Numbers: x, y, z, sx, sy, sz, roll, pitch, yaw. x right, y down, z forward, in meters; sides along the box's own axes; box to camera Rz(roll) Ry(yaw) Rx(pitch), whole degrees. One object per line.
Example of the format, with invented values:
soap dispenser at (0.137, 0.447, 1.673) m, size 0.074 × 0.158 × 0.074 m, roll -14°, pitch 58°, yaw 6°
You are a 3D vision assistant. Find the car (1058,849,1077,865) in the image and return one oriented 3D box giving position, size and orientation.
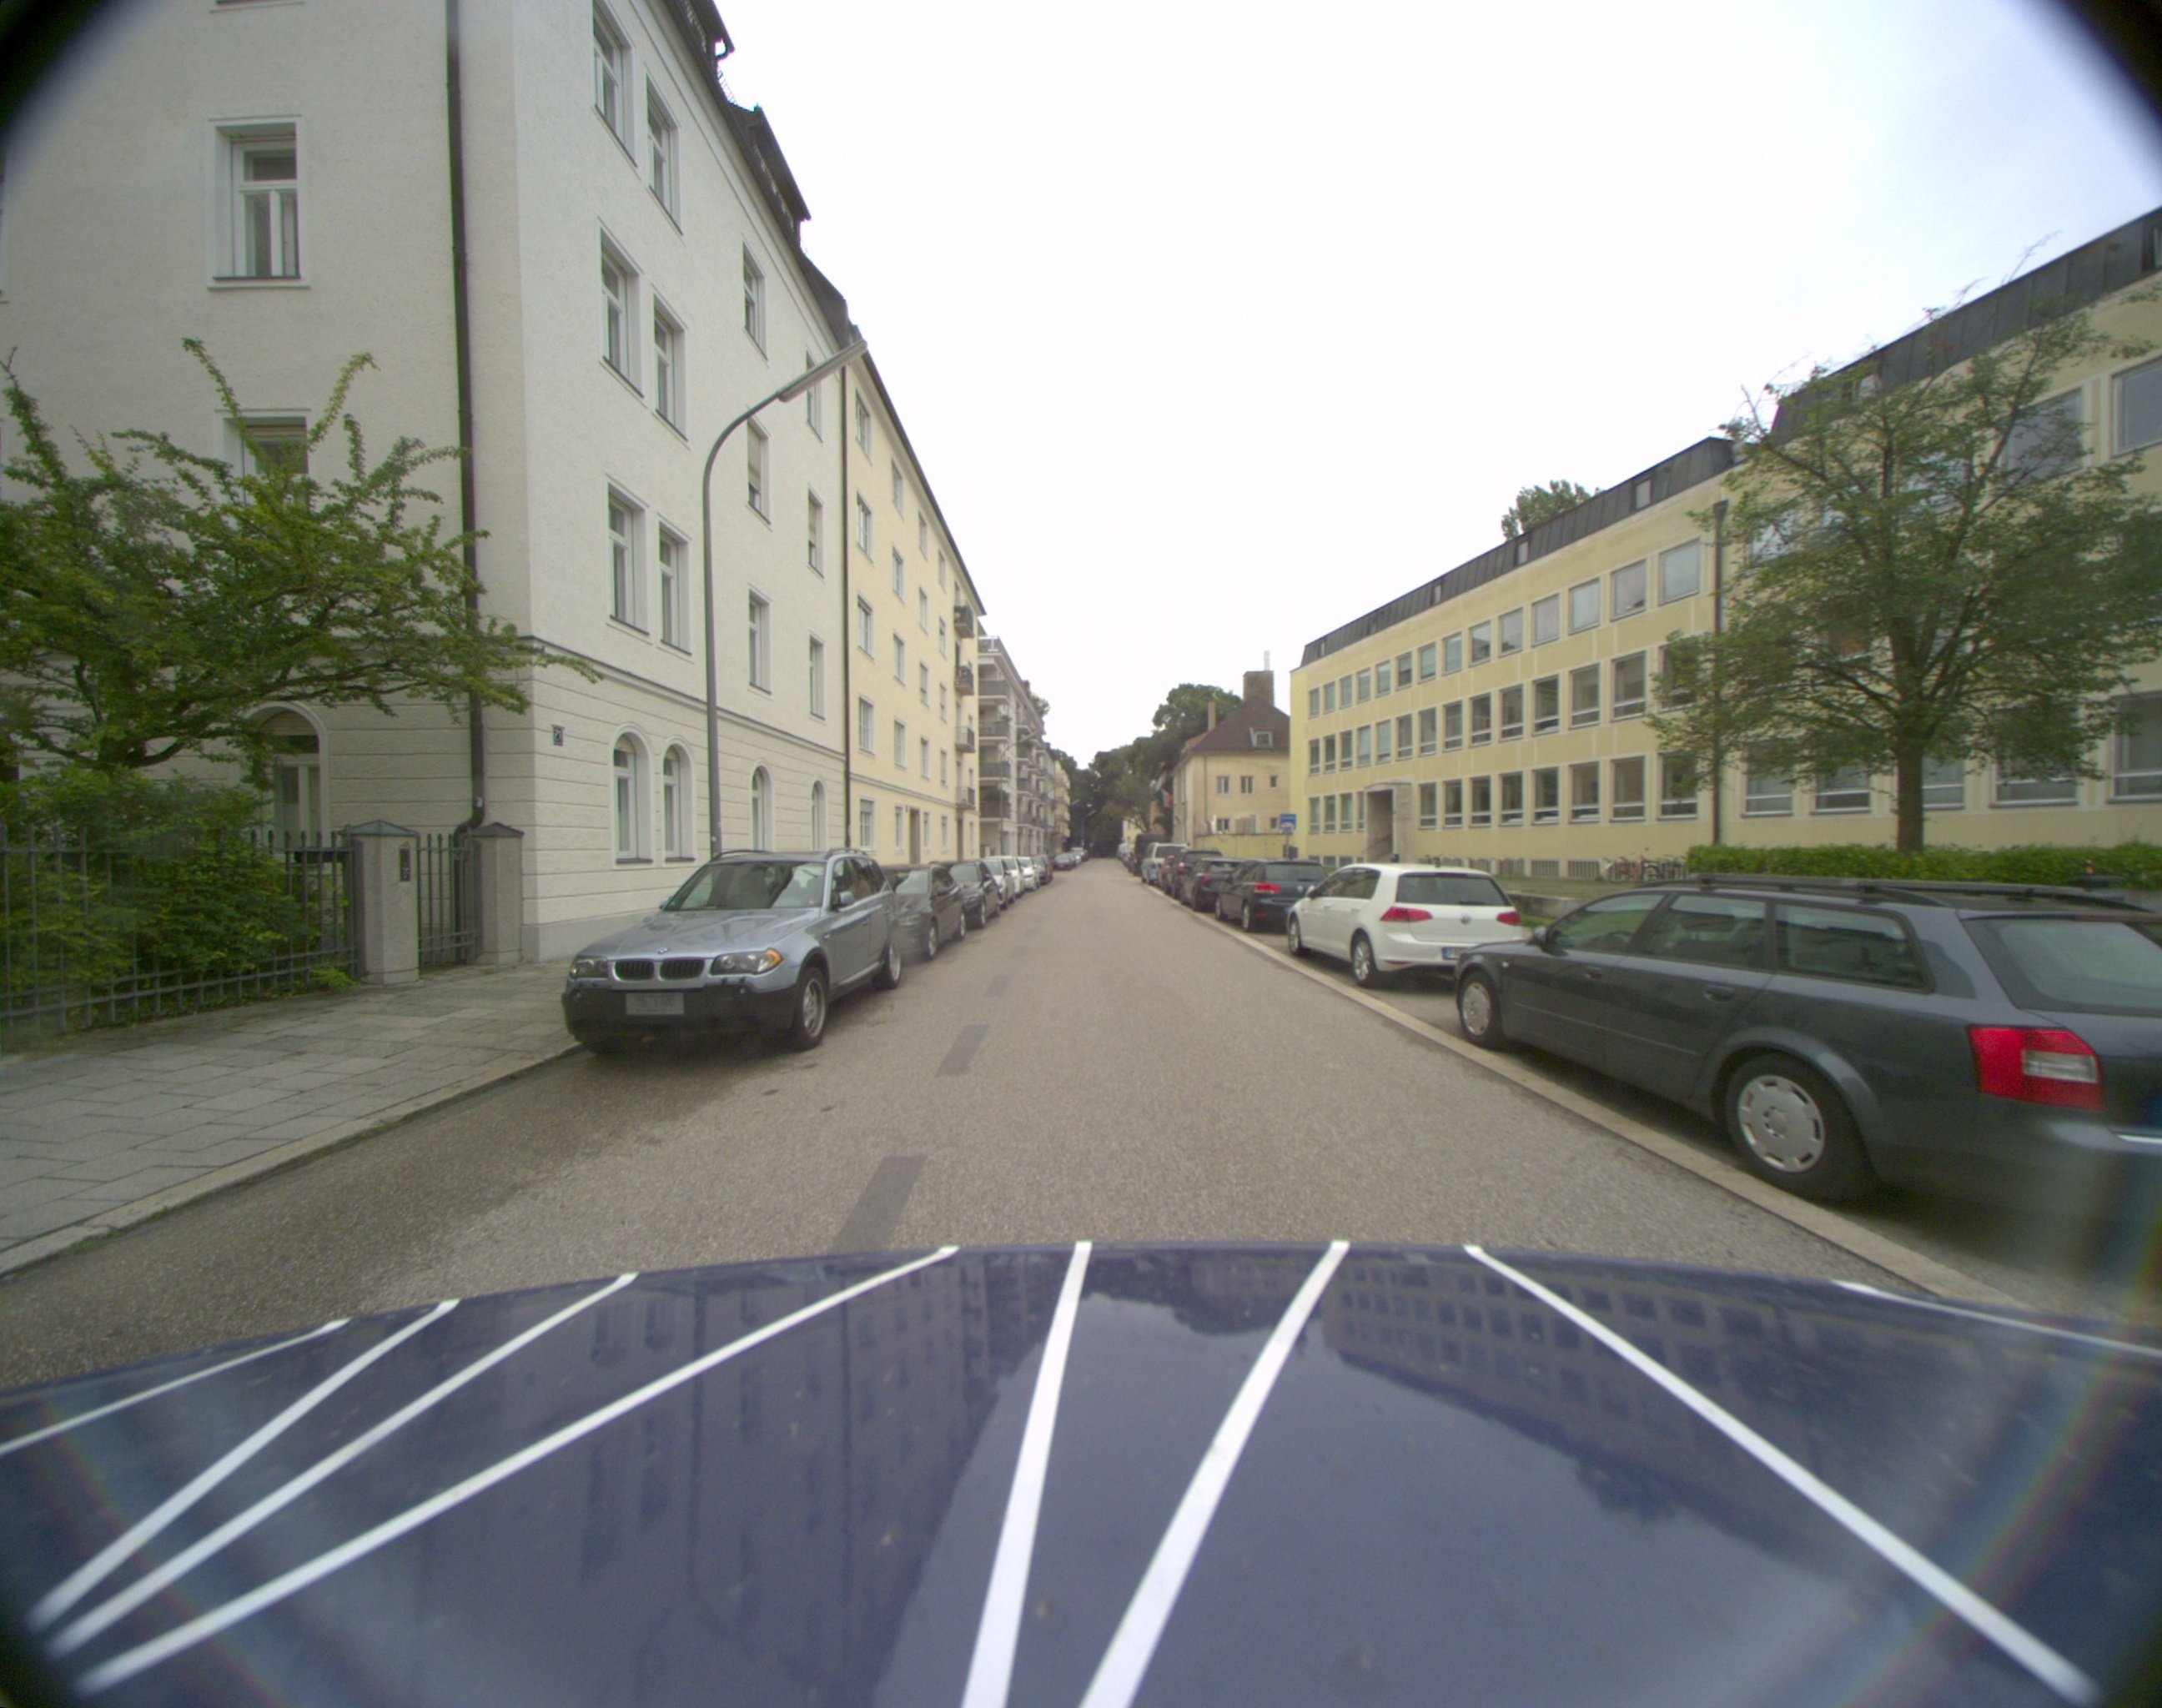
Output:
car at (-1.325, 0.275, 76.310) m, size 1.766 × 1.449 × 3.747 m, roll -1°, pitch 1°, yaw 1°

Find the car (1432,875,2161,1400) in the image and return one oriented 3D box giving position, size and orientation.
car at (3.996, 0.944, 4.515) m, size 1.759 × 1.445 × 4.395 m, roll 1°, pitch 1°, yaw 0°

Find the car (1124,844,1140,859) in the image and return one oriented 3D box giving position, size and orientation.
car at (6.285, -0.347, 93.658) m, size 1.817 × 1.724 × 3.649 m, roll -1°, pitch 1°, yaw 2°

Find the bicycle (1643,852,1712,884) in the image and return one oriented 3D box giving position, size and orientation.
bicycle at (19.692, 0.440, 25.094) m, size 1.953 × 1.008 × 0.625 m, roll -1°, pitch 1°, yaw -9°

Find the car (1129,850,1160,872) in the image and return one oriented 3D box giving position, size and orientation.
car at (4.540, 0.459, 54.657) m, size 1.706 × 1.485 × 3.488 m, roll -1°, pitch 1°, yaw -3°

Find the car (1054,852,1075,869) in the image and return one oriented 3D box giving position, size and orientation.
car at (-1.465, 0.520, 66.780) m, size 1.784 × 1.386 × 4.245 m, roll -1°, pitch 1°, yaw -2°

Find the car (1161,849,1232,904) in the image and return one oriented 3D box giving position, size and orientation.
car at (3.908, 0.687, 26.341) m, size 1.748 × 1.656 × 4.448 m, roll 3°, pitch 1°, yaw 0°

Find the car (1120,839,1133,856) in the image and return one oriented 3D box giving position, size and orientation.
car at (7.206, -1.033, 120.369) m, size 1.880 × 2.539 × 4.370 m, roll -1°, pitch 1°, yaw 3°

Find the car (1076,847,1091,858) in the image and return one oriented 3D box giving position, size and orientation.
car at (0.397, -0.236, 109.037) m, size 1.871 × 1.455 × 4.268 m, roll -1°, pitch 1°, yaw 3°

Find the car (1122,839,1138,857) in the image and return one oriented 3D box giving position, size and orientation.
car at (6.730, -0.878, 103.905) m, size 2.104 × 2.418 × 4.549 m, roll -1°, pitch 1°, yaw 4°

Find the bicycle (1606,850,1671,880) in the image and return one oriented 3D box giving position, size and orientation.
bicycle at (19.444, 0.385, 26.508) m, size 1.953 × 1.008 × 0.625 m, roll -1°, pitch 1°, yaw -9°

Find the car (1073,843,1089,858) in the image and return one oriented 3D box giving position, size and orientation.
car at (0.017, -0.474, 103.406) m, size 1.871 × 2.002 × 4.268 m, roll -1°, pitch 1°, yaw 3°

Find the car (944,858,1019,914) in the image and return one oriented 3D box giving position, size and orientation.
car at (-2.841, 0.873, 22.563) m, size 1.683 × 1.419 × 4.166 m, roll -1°, pitch 1°, yaw 0°

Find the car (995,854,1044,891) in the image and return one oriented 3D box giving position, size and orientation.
car at (-2.586, 0.740, 32.728) m, size 1.683 × 1.402 × 4.442 m, roll -1°, pitch 1°, yaw 0°

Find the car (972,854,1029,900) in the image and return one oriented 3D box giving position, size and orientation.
car at (-2.893, 0.777, 28.007) m, size 1.683 × 1.473 × 4.166 m, roll -1°, pitch 1°, yaw 0°

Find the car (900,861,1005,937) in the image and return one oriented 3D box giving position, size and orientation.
car at (-2.814, 0.933, 17.567) m, size 1.683 × 1.419 × 4.390 m, roll -1°, pitch 1°, yaw 0°

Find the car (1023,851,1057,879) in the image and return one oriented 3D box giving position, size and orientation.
car at (-2.323, 0.606, 43.458) m, size 1.683 × 1.489 × 3.823 m, roll -1°, pitch 1°, yaw 0°

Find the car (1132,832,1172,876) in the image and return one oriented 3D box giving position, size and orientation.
car at (4.533, -0.029, 49.506) m, size 2.302 × 2.630 × 5.653 m, roll 1°, pitch 1°, yaw 3°

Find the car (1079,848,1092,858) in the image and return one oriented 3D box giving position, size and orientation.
car at (0.782, -0.204, 119.180) m, size 1.871 × 1.455 × 4.268 m, roll -1°, pitch 1°, yaw 3°

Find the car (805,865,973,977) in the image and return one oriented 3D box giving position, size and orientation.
car at (-2.958, 0.965, 12.616) m, size 1.683 × 1.419 × 4.086 m, roll -1°, pitch 1°, yaw 1°

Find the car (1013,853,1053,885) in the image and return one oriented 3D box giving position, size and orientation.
car at (-2.355, 0.701, 38.055) m, size 1.683 × 1.402 × 4.421 m, roll -1°, pitch 1°, yaw 0°

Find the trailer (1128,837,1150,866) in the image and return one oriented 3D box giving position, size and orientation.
trailer at (5.425, -0.272, 71.166) m, size 1.817 × 2.521 × 3.390 m, roll 3°, pitch 1°, yaw 6°

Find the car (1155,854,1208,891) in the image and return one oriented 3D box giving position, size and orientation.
car at (4.130, 0.722, 31.728) m, size 1.748 × 1.379 × 3.918 m, roll -1°, pitch 1°, yaw 1°

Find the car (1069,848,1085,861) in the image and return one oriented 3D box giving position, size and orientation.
car at (-0.483, 0.026, 88.194) m, size 1.766 × 1.449 × 3.747 m, roll -1°, pitch 1°, yaw 1°

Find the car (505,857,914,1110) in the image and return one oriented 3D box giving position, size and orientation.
car at (-3.019, 0.898, 7.412) m, size 1.726 × 1.625 × 4.457 m, roll -1°, pitch 1°, yaw 1°

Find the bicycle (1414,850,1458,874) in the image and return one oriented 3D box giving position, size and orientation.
bicycle at (16.858, 0.371, 36.058) m, size 1.954 × 1.008 × 0.580 m, roll -2°, pitch 1°, yaw -16°

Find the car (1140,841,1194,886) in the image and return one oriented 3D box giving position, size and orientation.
car at (4.038, 0.396, 36.469) m, size 1.933 × 1.968 × 5.021 m, roll 0°, pitch 1°, yaw -1°

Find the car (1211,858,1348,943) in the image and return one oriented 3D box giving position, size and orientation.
car at (3.960, 0.862, 15.817) m, size 1.661 × 1.445 × 3.973 m, roll 1°, pitch 1°, yaw -2°

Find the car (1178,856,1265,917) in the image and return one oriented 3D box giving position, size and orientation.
car at (3.772, 0.823, 21.002) m, size 1.684 × 1.445 × 3.869 m, roll 1°, pitch 1°, yaw 0°

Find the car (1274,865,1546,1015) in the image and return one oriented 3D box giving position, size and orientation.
car at (3.963, 0.938, 9.978) m, size 1.661 × 1.445 × 4.072 m, roll 1°, pitch 1°, yaw -2°

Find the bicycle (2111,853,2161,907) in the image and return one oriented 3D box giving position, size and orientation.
bicycle at (21.665, 0.492, 15.183) m, size 1.954 × 1.008 × 0.624 m, roll -1°, pitch 1°, yaw -16°

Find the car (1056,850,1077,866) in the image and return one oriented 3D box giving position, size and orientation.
car at (-1.346, 0.350, 71.790) m, size 1.766 × 1.449 × 3.417 m, roll -1°, pitch 1°, yaw 1°
